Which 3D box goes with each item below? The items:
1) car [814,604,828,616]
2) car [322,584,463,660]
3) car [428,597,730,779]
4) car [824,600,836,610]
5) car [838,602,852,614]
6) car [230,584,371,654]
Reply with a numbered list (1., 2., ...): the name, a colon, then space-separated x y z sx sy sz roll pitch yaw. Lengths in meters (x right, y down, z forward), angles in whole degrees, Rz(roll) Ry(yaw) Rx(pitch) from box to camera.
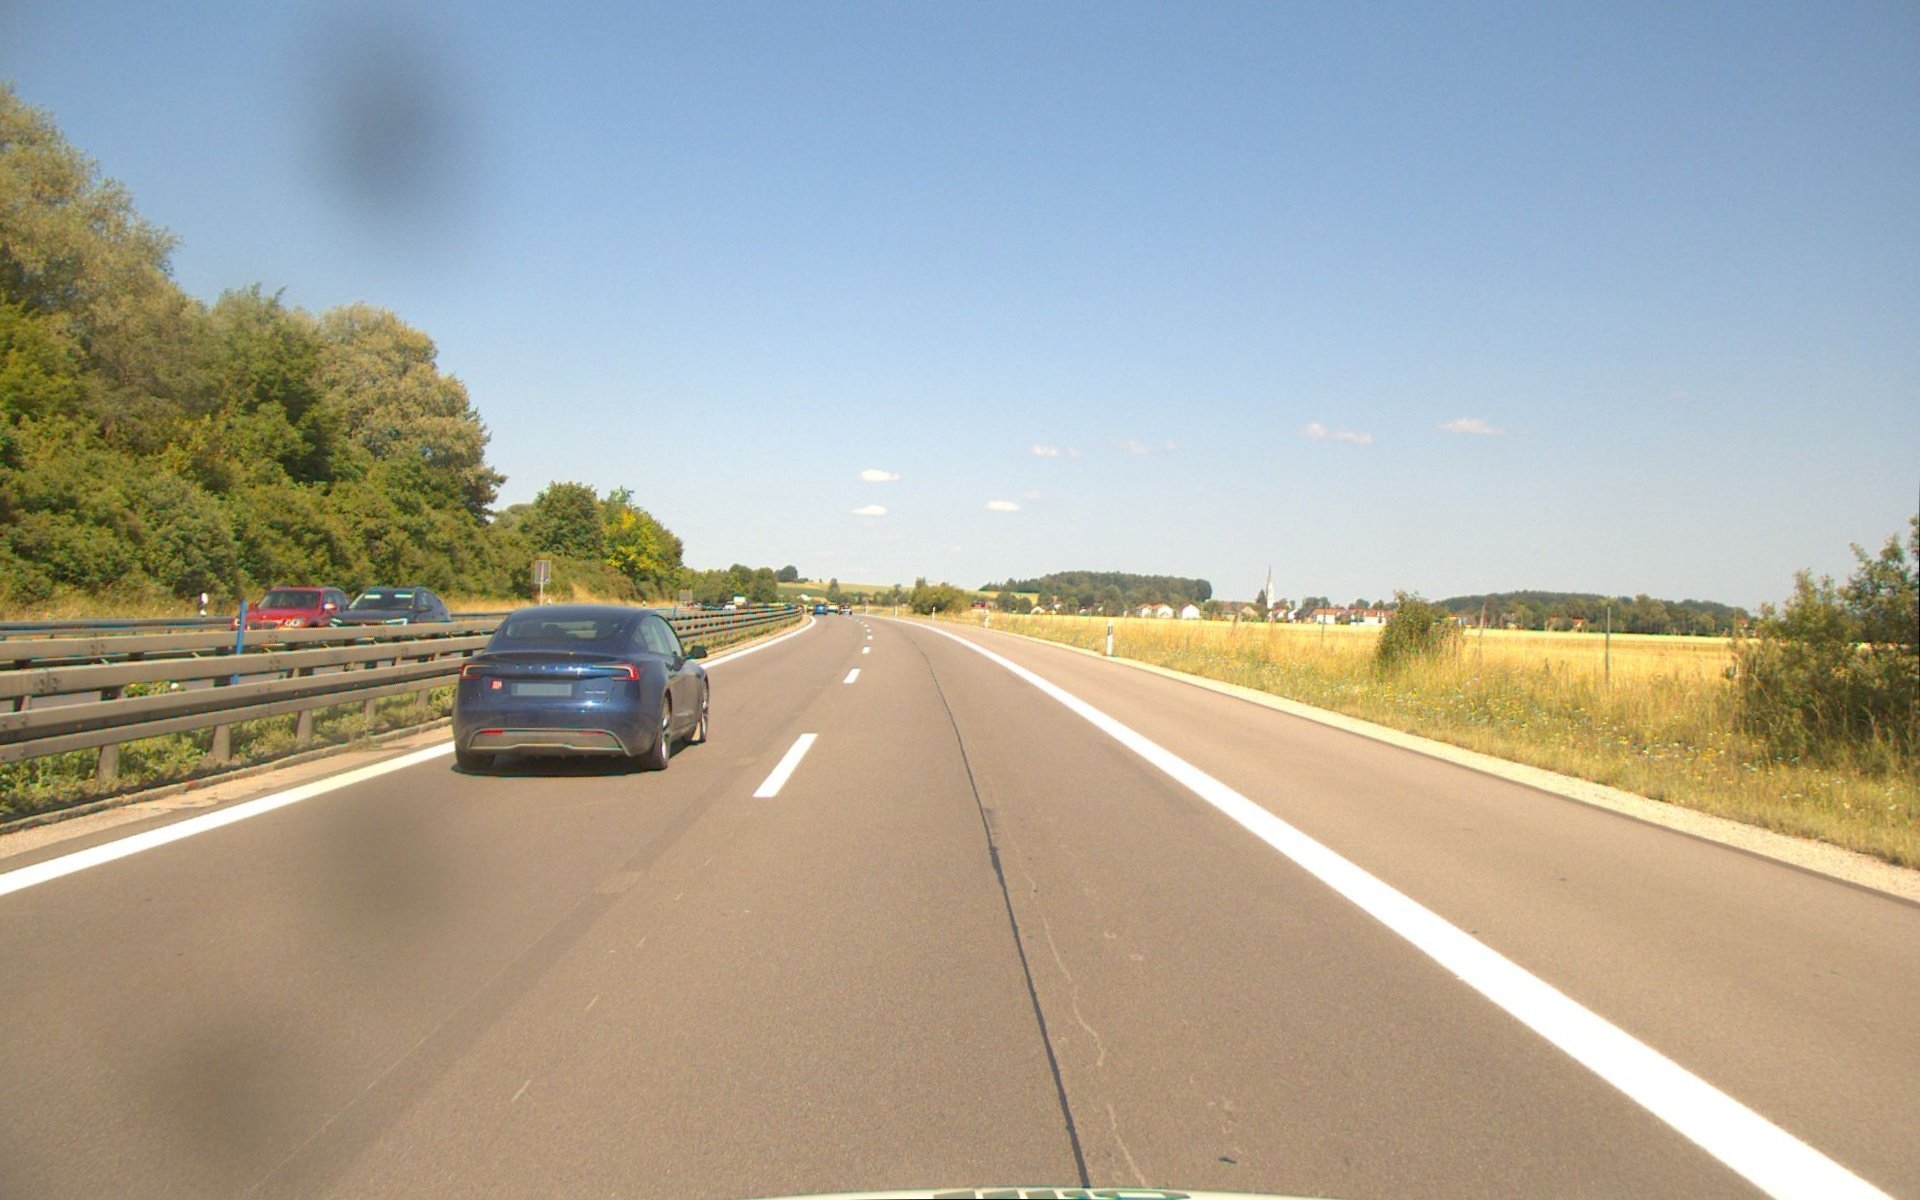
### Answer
1. car: -17.262 1.214 205.747 1.643 1.479 3.588 1 0 -5
2. car: -12.205 0.451 35.850 1.616 1.519 4.537 1 0 -2
3. car: -3.500 0.714 16.389 1.810 1.458 5.863 0 0 -2
4. car: -19.970 0.807 254.169 1.642 1.479 3.590 1 0 -3
5. car: -14.897 1.008 213.672 1.644 1.479 3.587 1 0 -6
6. car: -15.437 0.421 38.961 1.616 1.519 4.537 1 0 -2
